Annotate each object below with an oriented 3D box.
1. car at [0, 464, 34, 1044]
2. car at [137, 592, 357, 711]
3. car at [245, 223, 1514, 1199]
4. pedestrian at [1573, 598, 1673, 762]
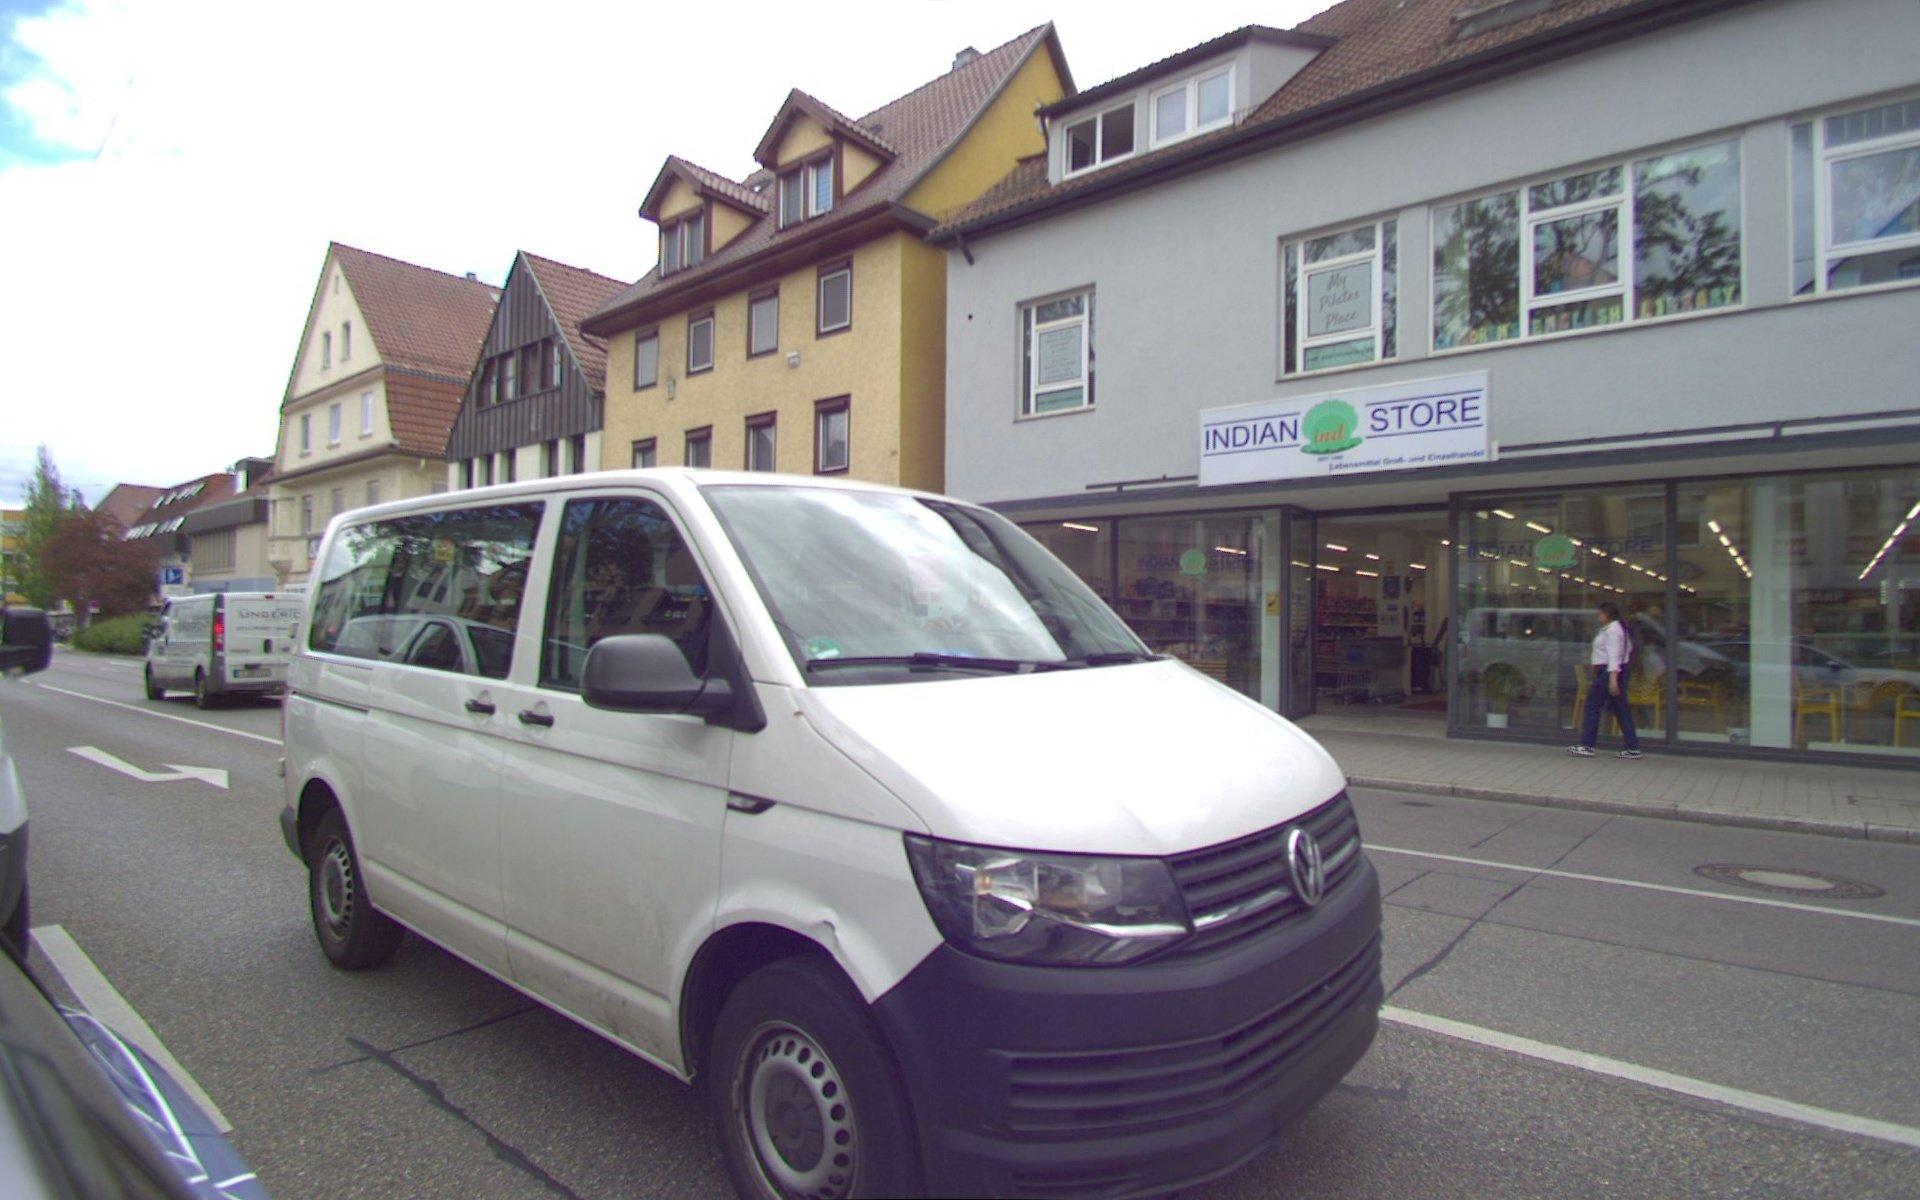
[{"bbox_3d":[-5.793,0.571,4.453,5.161,1.974,1.939,-1,-1,41],"label":"car"},{"bbox_3d":[-13.237,0.920,18.665,5.153,1.902,1.974,-2,-3,39],"label":"car"},{"bbox_3d":[-0.879,0.505,3.748,4.850,1.974,1.806,-2,-2,41],"label":"car"},{"bbox_3d":[6.913,0.808,10.550,0.752,1.622,0.720,-2,-2,41],"label":"pedestrian"}]
